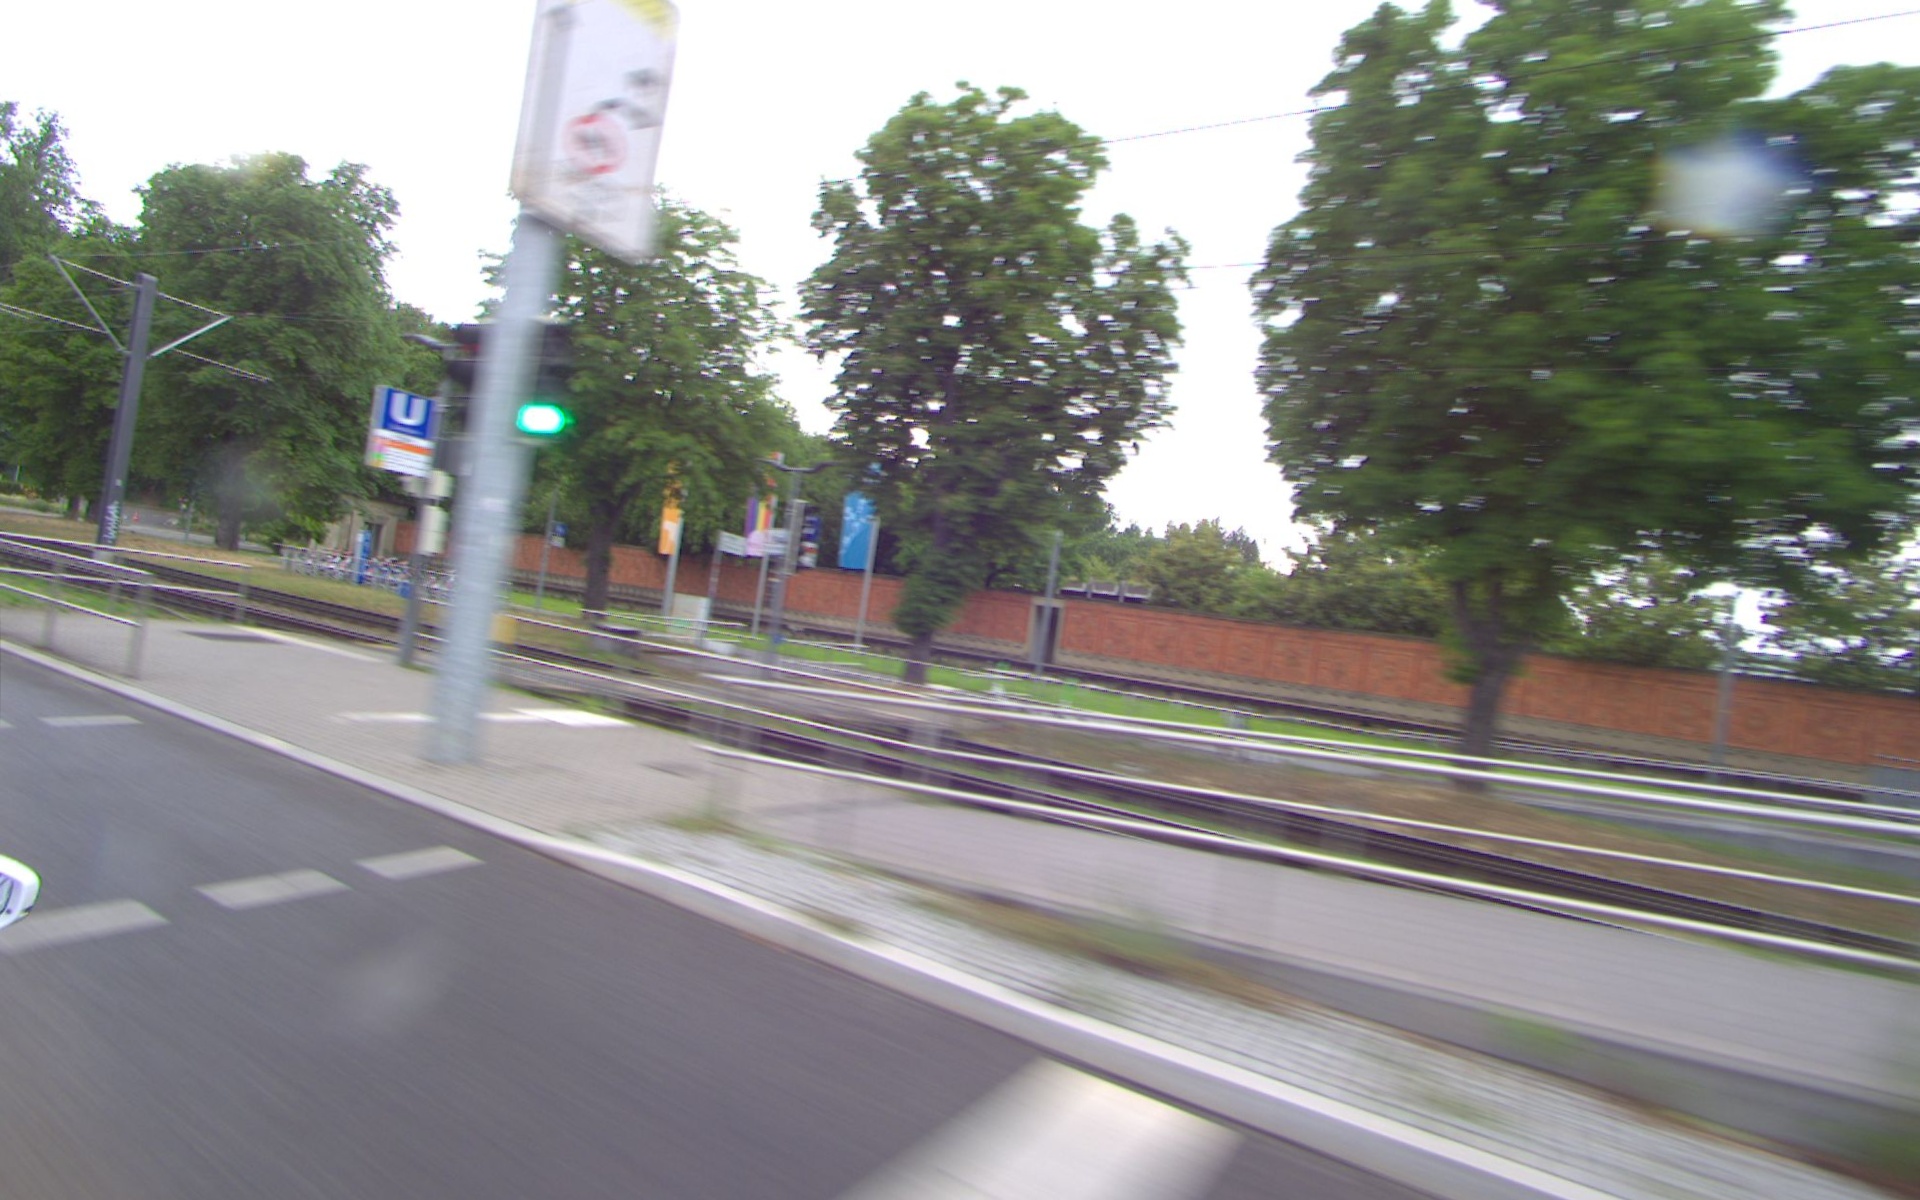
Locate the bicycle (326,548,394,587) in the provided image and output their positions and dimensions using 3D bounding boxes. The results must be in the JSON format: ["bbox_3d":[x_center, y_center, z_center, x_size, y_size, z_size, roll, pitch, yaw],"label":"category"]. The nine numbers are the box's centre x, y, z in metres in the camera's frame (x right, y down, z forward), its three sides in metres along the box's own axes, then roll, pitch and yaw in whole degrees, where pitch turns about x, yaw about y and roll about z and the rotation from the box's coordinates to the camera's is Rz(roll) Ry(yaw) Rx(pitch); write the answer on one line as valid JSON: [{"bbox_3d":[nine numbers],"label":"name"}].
[{"bbox_3d":[-20.761,-1.118,34.836,0.641,1.044,1.839,8,-1,29],"label":"bicycle"}]

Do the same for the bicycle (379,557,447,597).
[{"bbox_3d":[-18.148,-0.759,33.405,0.641,1.044,1.815,8,-1,29],"label":"bicycle"}]

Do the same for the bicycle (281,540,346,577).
[{"bbox_3d":[-23.504,-1.502,36.598,0.641,1.044,1.815,8,-1,29],"label":"bicycle"}]

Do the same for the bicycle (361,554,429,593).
[{"bbox_3d":[-18.917,-0.881,33.711,0.641,1.046,1.815,8,-1,29],"label":"bicycle"}]

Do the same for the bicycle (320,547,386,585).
[{"bbox_3d":[-21.261,-1.191,35.281,0.641,1.044,1.815,8,-1,29],"label":"bicycle"}]

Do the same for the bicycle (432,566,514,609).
[{"bbox_3d":[-15.348,-0.371,31.760,0.677,1.044,2.228,8,-2,29],"label":"bicycle"}]

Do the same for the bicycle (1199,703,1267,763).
[{"bbox_3d":[5.123,2.449,18.771,0.560,0.968,2.327,8,-1,30],"label":"bicycle"}]

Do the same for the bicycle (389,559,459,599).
[{"bbox_3d":[-17.571,-0.687,33.022,0.641,1.044,1.851,8,-1,29],"label":"bicycle"}]

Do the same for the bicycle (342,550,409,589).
[{"bbox_3d":[-20.100,-1.036,34.621,0.641,1.044,1.815,8,-1,29],"label":"bicycle"}]

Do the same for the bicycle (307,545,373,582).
[{"bbox_3d":[-22.012,-1.288,35.745,0.641,1.044,1.815,8,-1,29],"label":"bicycle"}]

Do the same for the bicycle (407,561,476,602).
[{"bbox_3d":[-16.819,-0.583,32.670,0.641,1.044,1.815,8,-1,29],"label":"bicycle"}]

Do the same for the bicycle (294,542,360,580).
[{"bbox_3d":[-22.747,-1.389,36.188,0.641,1.044,1.815,8,-1,29],"label":"bicycle"}]

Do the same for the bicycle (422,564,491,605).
[{"bbox_3d":[-16.084,-0.474,32.185,0.641,1.044,1.815,8,-1,29],"label":"bicycle"}]

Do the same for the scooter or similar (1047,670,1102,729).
[{"bbox_3d":[2.400,2.084,21.005,0.424,1.150,1.547,8,-1,30],"label":"scooter or similar"}]
